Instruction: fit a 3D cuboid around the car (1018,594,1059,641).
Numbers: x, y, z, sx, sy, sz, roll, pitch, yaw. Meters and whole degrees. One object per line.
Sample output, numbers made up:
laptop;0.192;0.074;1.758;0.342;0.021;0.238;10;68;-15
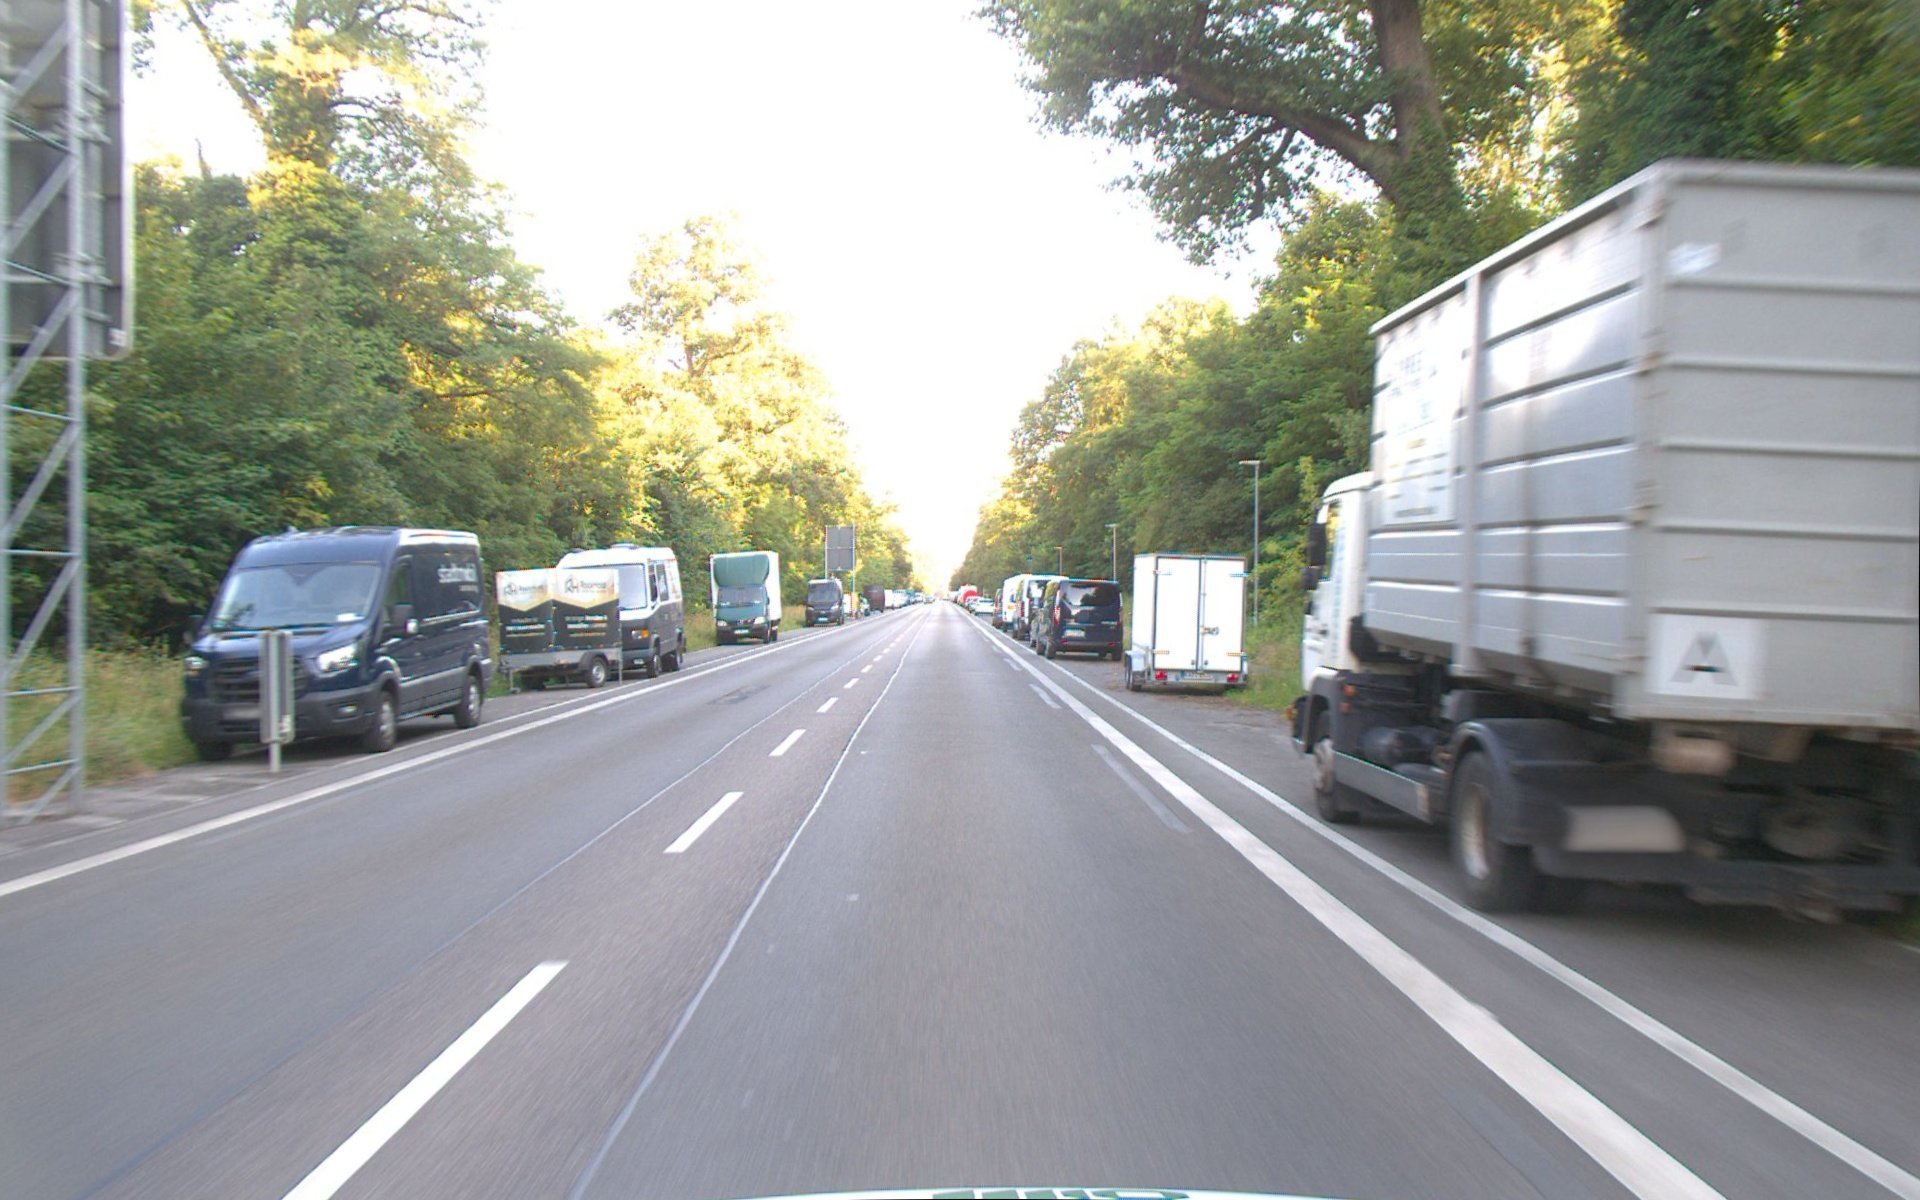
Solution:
car;2.671;0.588;56.831;1.124;1.573;2.752;1;0;-3

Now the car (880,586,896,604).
car;-8.859;-0.599;203.383;1.954;2.049;3.997;-1;-1;-3

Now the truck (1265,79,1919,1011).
truck;3.661;-0.183;9.508;2.535;3.312;7.221;1;0;1

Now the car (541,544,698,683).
car;-7.202;0.248;35.607;2.203;2.694;5.720;-2;0;-1

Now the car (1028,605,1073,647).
car;2.827;0.814;52.069;1.124;1.274;2.752;1;0;-3

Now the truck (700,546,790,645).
truck;-7.865;-0.162;61.171;2.453;3.387;6.840;-2;0;-1

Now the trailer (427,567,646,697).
trailer;-7.601;0.535;30.071;1.922;2.192;3.930;-1;0;20

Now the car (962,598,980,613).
car;0.938;0.460;140.604;1.398;1.243;3.411;-3;0;-1

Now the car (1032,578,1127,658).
car;3.071;0.452;43.402;1.954;1.989;4.297;1;0;-3

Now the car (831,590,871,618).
car;-8.242;0.290;125.507;1.664;2.049;4.002;1;0;18

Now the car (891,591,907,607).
car;-8.331;-0.121;225.551;1.953;2.049;4.000;-1;0;0

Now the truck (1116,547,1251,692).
truck;3.825;0.318;28.929;1.846;2.323;4.300;1;0;1

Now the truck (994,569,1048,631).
truck;2.738;0.009;75.439;2.099;2.706;4.297;1;0;-3

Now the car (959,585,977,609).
car;1.074;-0.425;222.557;2.267;3.147;5.638;1;0;-1

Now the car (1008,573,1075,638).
car;3.037;0.193;62.667;2.099;2.354;4.297;1;0;-3

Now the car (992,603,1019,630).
car;2.208;0.802;81.046;1.124;1.274;2.752;1;0;-3

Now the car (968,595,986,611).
car;1.653;0.277;158.193;1.612;1.512;3.999;1;0;-1

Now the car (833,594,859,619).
car;-8.057;0.459;117.095;1.736;1.701;3.998;1;0;-3

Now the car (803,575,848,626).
car;-7.763;0.024;95.819;2.142;2.837;5.333;-2;0;-1

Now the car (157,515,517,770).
car;-6.912;0.410;19.185;1.953;2.405;5.764;-3;0;-1

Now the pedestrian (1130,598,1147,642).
pedestrian;5.949;0.674;55.210;0.456;1.442;0.717;-1;-1;-1
